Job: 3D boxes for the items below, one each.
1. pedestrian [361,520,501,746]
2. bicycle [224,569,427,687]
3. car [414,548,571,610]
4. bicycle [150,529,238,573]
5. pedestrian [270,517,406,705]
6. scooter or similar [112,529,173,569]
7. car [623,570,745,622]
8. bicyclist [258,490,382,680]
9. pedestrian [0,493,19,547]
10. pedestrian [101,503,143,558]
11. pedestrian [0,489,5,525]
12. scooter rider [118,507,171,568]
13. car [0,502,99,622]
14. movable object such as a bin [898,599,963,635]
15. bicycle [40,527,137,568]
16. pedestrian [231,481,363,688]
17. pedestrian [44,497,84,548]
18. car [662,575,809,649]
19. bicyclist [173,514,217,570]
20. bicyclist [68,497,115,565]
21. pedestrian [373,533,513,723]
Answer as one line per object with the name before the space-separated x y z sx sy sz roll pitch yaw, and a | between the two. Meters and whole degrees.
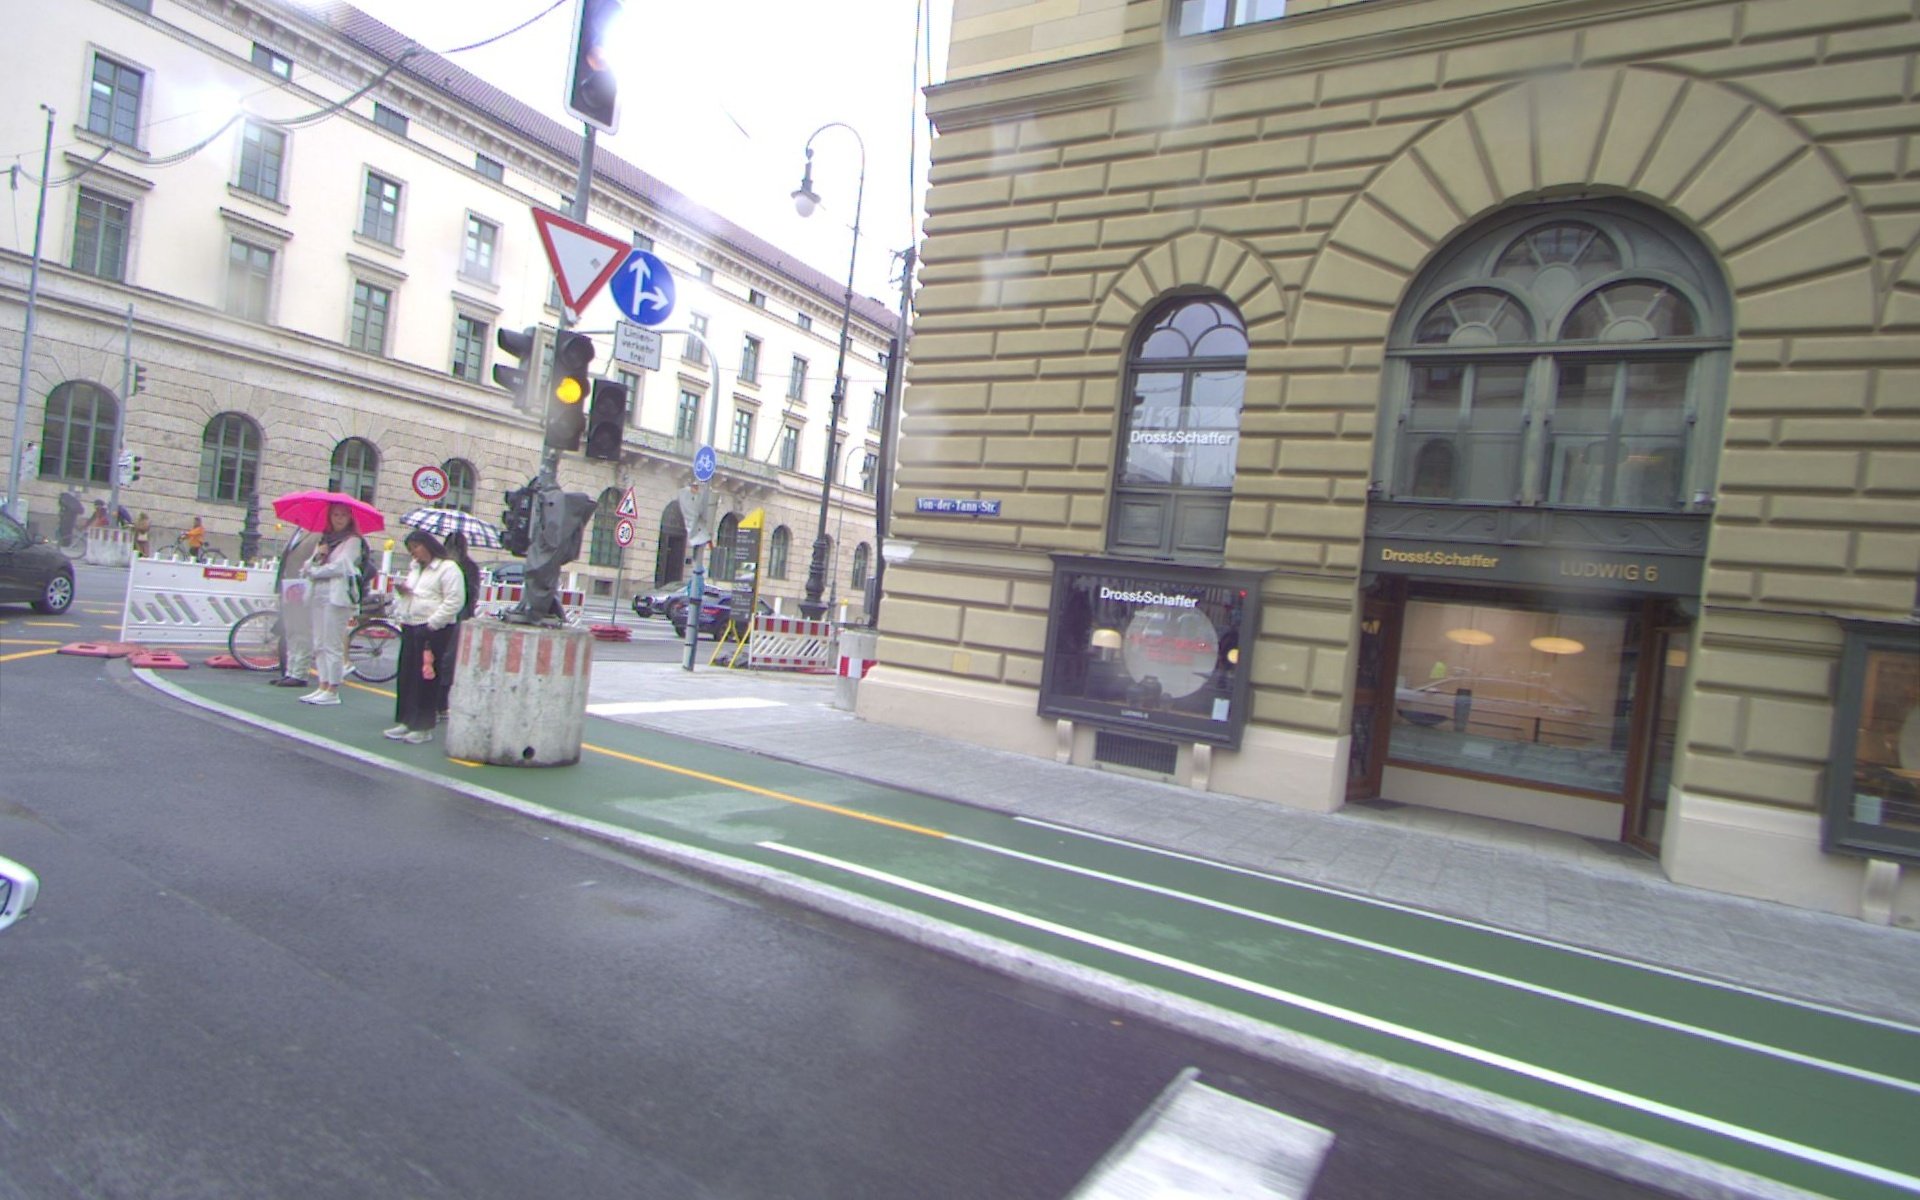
pedestrian | -4.101 0.254 7.800 0.663 1.639 0.532 7 0 33
bicycle | -6.725 0.300 10.742 1.632 1.023 0.584 8 -1 -18
car | -14.790 -0.627 32.084 1.720 1.404 4.235 5 -2 30
bicycle | -24.115 -1.529 31.707 0.782 1.052 1.961 7 -2 33
pedestrian | -5.612 0.114 9.094 0.575 1.586 0.703 7 -1 33
scooter or similar | -24.132 -1.495 29.707 0.578 0.976 1.213 7 -1 32
car | -10.662 -0.111 39.200 1.762 1.585 4.569 4 -2 30
bicyclist | -6.788 -0.147 10.706 0.787 1.876 0.566 7 0 -18
pedestrian | -29.229 -2.458 30.477 0.657 1.575 0.817 7 -1 38
pedestrian | -28.457 -2.364 34.173 0.806 1.714 0.716 7 -1 32
pedestrian | -29.848 -2.596 30.822 0.534 1.691 0.616 7 0 38
scooter rider | -24.087 -1.829 29.706 0.583 1.641 0.934 7 -1 32
car | -12.316 -0.571 12.000 1.845 1.405 3.979 8 -1 -23
movable object such as a bin | -2.078 1.258 72.669 1.491 2.037 5.967 7 -2 31
bicycle | -25.594 -1.526 29.576 0.651 0.890 1.975 7 -2 33
pedestrian | -6.454 -0.141 9.797 0.631 1.907 0.703 7 -1 35
pedestrian | -29.605 -2.553 33.245 0.806 1.545 0.666 7 -1 32
car | -6.394 0.379 29.082 1.745 1.635 3.995 7 -2 31
bicyclist | -24.090 -1.825 31.679 0.782 1.634 0.744 7 -1 33
bicyclist | -25.535 -2.031 29.578 0.650 1.864 0.744 7 0 33
pedestrian | -4.606 0.258 8.980 0.670 1.586 0.703 7 -1 33
